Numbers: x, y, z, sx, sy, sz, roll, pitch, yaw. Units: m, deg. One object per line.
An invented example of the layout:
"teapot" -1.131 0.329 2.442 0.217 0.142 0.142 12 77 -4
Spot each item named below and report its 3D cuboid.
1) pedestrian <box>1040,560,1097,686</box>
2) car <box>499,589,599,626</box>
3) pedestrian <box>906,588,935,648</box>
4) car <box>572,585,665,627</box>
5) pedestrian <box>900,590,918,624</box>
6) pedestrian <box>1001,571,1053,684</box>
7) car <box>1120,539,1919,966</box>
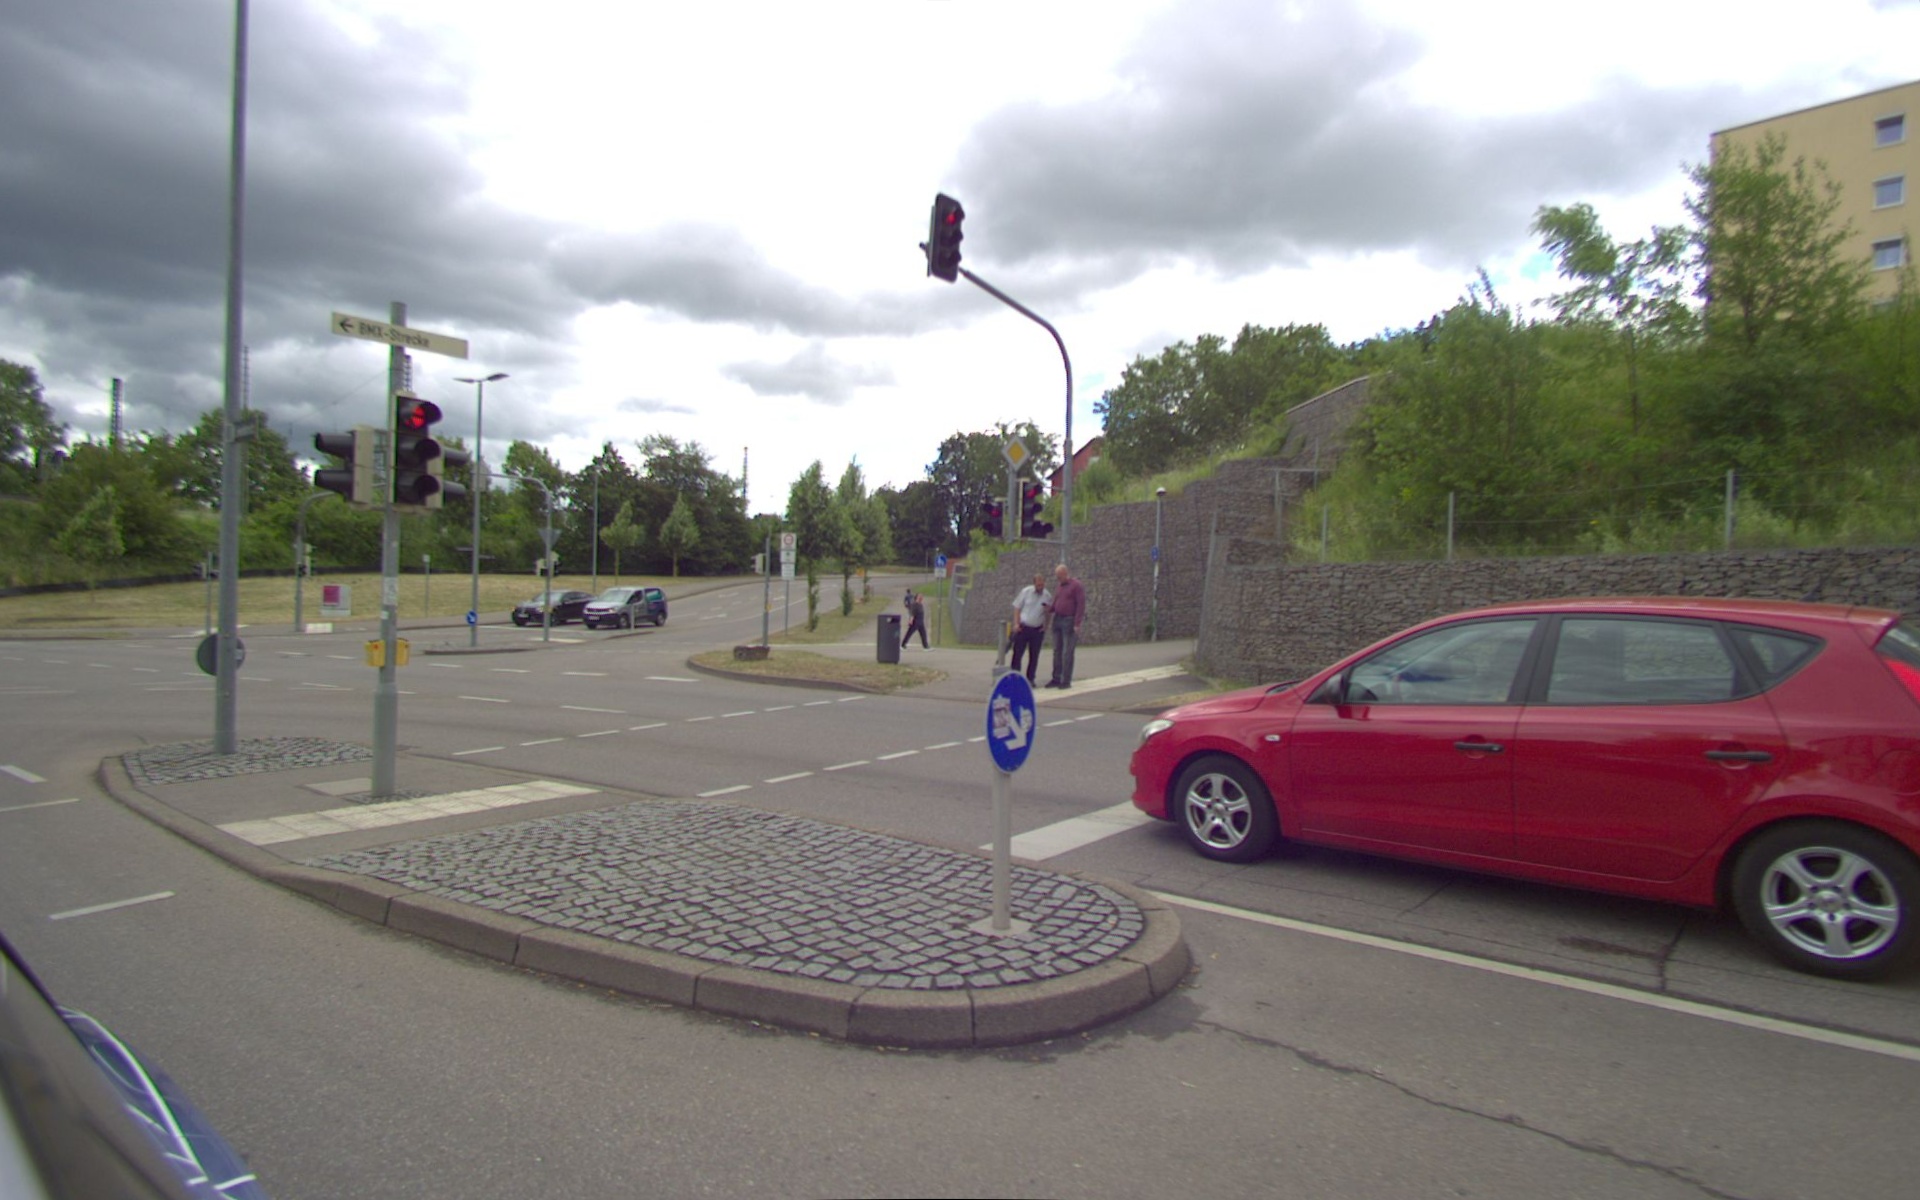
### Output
"pedestrian" 1.625 0.324 15.186 0.663 1.841 0.618 0 1 30
"car" -18.692 0.320 46.250 2.092 1.563 4.241 0 1 16
"pedestrian" -1.051 0.460 26.916 0.618 1.569 0.577 0 1 15
"car" -14.973 0.222 44.614 1.745 1.741 4.239 0 1 17
"pedestrian" -2.359 0.316 46.645 0.790 1.569 0.901 0 1 -2
"pedestrian" 1.017 0.405 15.444 0.655 1.691 0.625 0 1 -9
"car" 3.031 0.547 5.254 4.094 1.535 1.734 -1 0 44
